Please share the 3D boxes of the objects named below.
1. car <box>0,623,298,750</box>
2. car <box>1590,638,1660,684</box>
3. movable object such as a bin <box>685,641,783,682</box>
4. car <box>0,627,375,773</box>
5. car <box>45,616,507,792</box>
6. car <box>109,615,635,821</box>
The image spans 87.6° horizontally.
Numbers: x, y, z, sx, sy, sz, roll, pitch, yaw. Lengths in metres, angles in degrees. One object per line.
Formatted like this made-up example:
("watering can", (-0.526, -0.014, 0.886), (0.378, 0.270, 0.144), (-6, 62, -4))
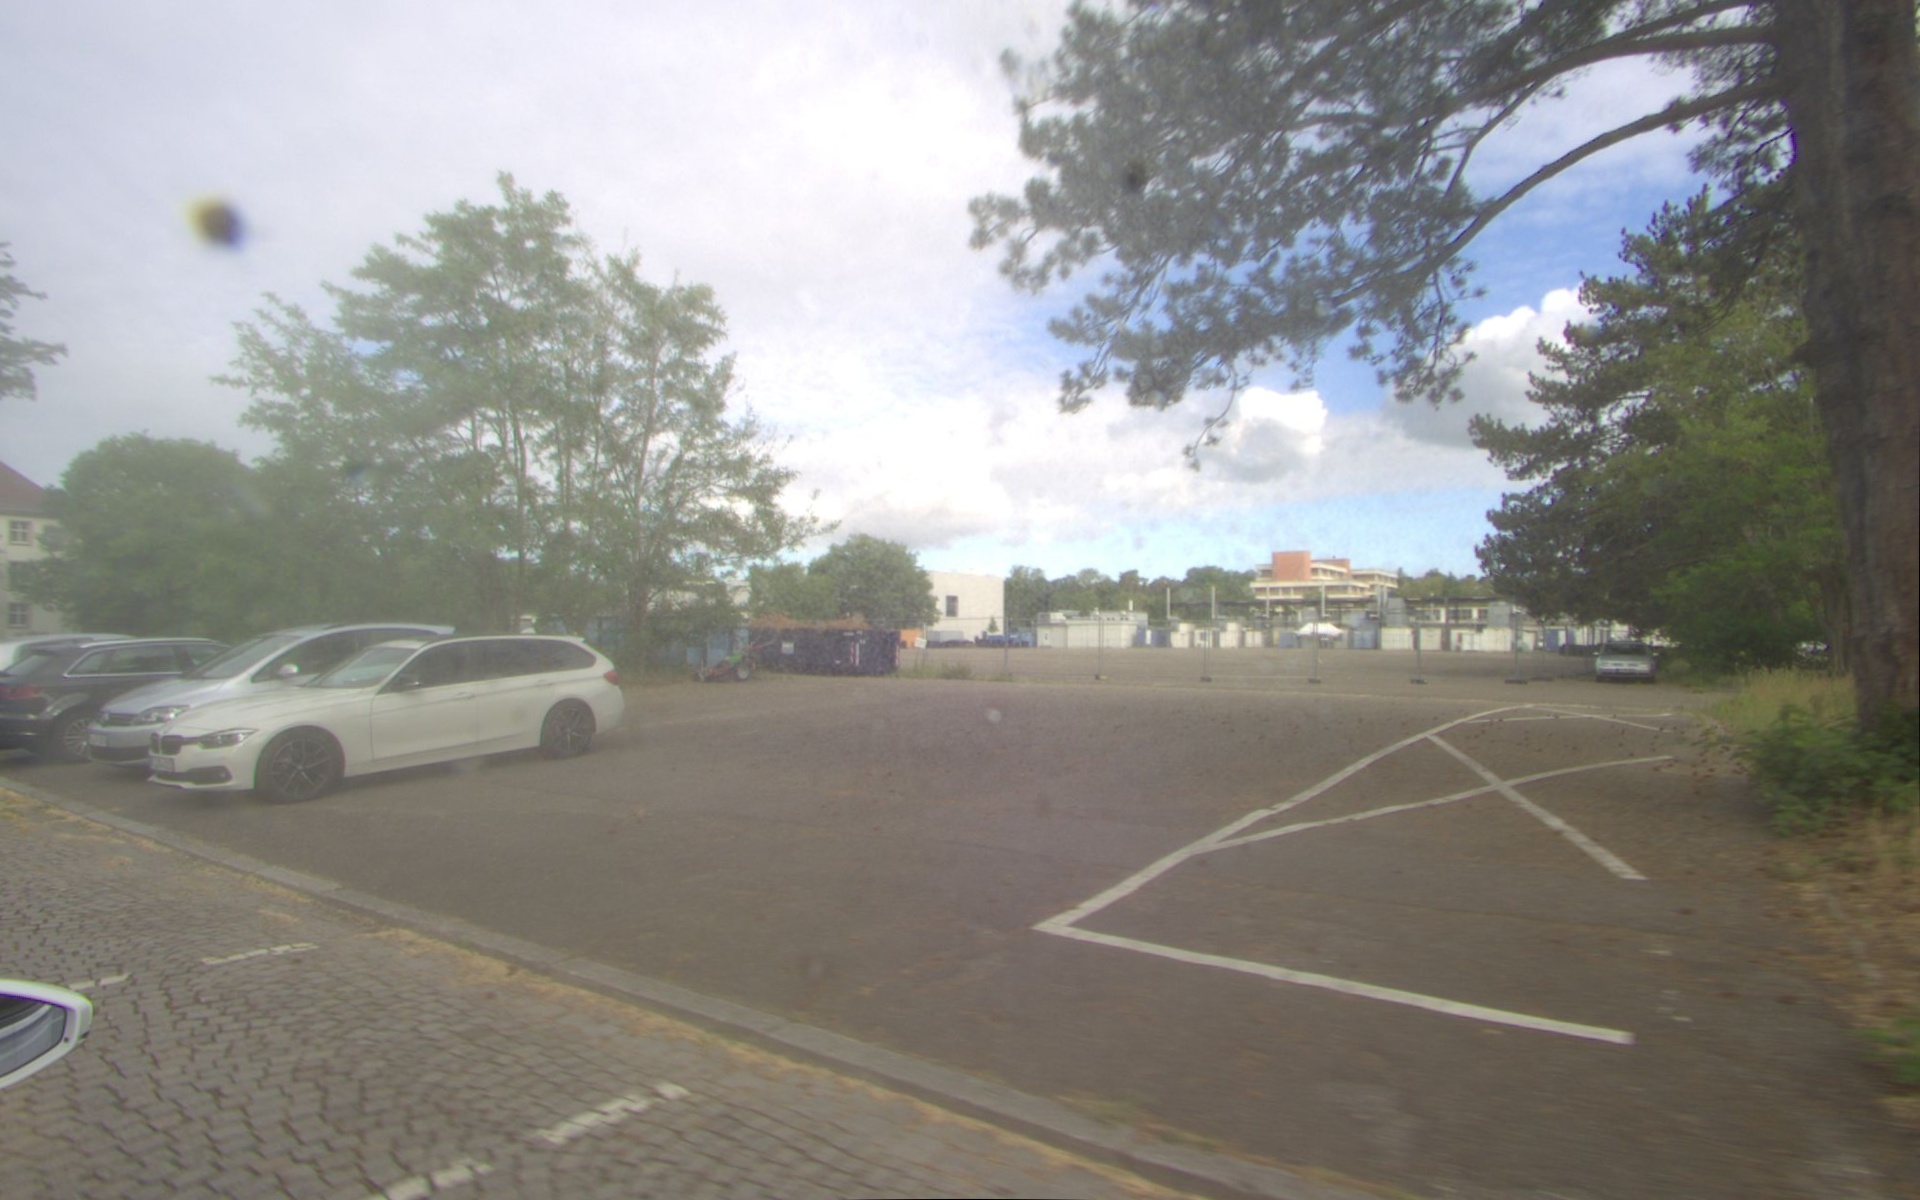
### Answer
("car", (-12.586, 1.193, 14.994), (1.779, 1.535, 4.062), (-1, 1, 33))
("car", (23.415, 2.114, 35.347), (1.945, 1.501, 3.980), (-1, -2, 33))
("movable object such as a bin", (-5.870, 1.588, 26.167), (0.841, 1.001, 2.677), (-1, -2, 33))
("car", (-10.431, 1.181, 13.411), (1.859, 1.472, 4.062), (-1, 1, 33))
("car", (-8.017, 1.069, 12.181), (1.858, 1.617, 4.230), (-1, 1, 32))
("car", (-5.948, 1.029, 10.745), (1.879, 1.587, 4.481), (-1, 1, 33))
